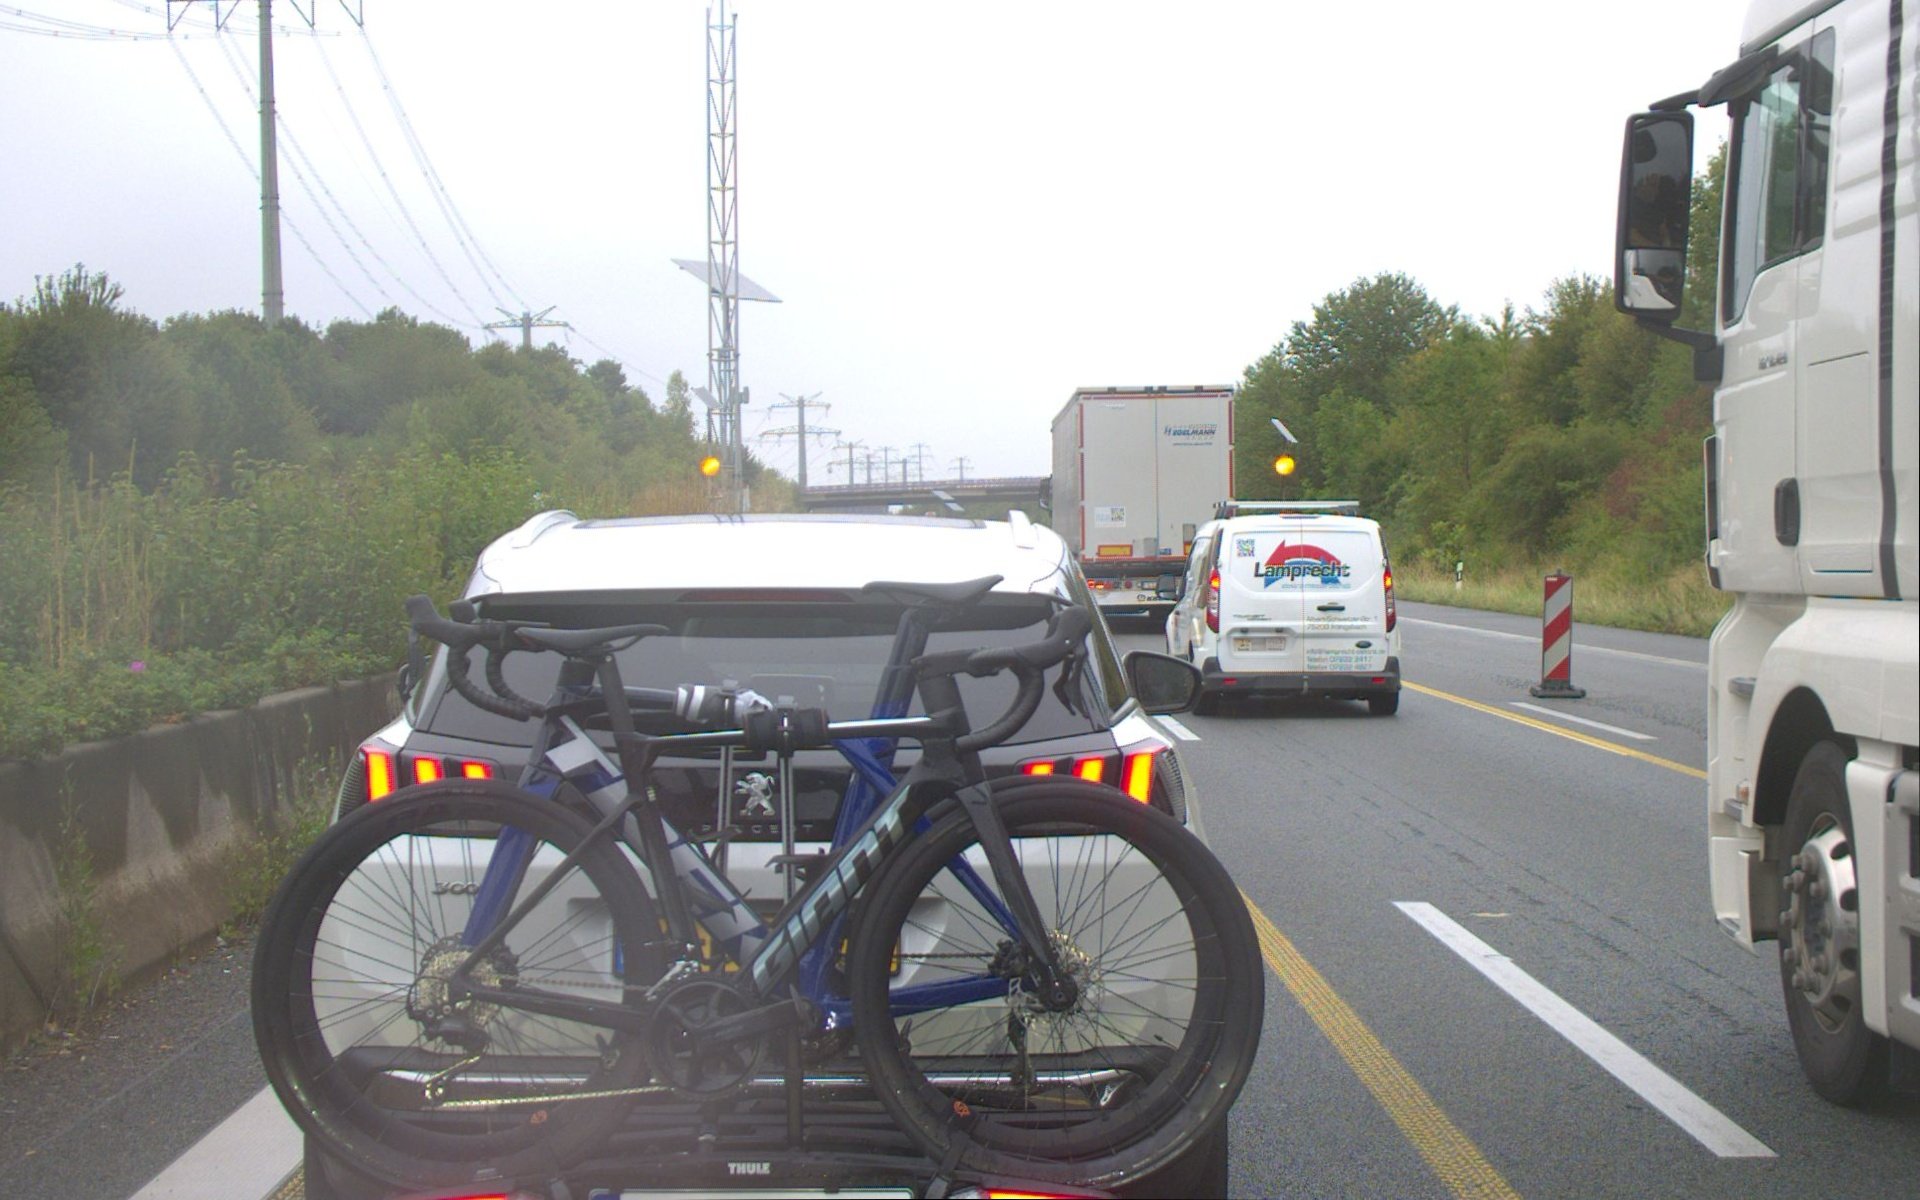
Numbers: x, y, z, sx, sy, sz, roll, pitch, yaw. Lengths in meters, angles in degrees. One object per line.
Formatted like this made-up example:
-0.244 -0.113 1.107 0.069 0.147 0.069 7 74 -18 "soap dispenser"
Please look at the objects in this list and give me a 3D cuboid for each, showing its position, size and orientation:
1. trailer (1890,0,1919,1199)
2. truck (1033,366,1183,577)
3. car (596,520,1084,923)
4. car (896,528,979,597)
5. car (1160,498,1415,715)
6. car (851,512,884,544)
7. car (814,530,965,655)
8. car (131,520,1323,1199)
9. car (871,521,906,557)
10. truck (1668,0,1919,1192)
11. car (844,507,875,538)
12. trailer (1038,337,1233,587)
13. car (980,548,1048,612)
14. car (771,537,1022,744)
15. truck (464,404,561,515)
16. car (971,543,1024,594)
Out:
3.582 -0.587 1.074 2.706 4.132 13.733 0 1 -1 "trailer"
2.921 -2.536 69.572 2.660 4.062 6.539 0 1 -1 "truck"
-0.478 0.424 15.053 1.850 1.525 4.000 0 1 -1 "car"
-0.528 -0.880 79.150 1.850 1.525 4.000 0 1 -1 "car"
2.899 0.014 31.381 1.829 1.833 4.656 0 1 -1 "car"
-5.691 -4.440 211.415 1.931 1.904 4.001 0 2 -1 "car"
-0.892 -0.131 44.295 1.850 1.525 4.000 0 1 -1 "car"
-0.389 0.597 7.735 1.850 1.525 4.769 0 1 -1 "car"
-3.983 -3.445 192.911 1.931 1.966 4.001 0 2 -1 "car"
3.569 -0.693 7.732 2.706 4.124 5.691 0 1 -1 "truck"
-6.522 -5.041 224.200 1.931 1.966 4.001 0 2 -1 "car"
3.012 -2.365 62.737 2.692 4.062 13.634 0 1 -1 "trailer"
1.742 -0.674 112.512 2.110 1.966 4.001 0 2 -1 "car"
-0.490 0.263 27.384 1.850 1.525 4.000 0 1 -1 "car"
-17.414 -5.434 134.176 2.785 4.010 7.234 -3 1 -1 "truck"
1.545 -1.324 143.071 2.148 1.966 4.001 0 2 -1 "car"
